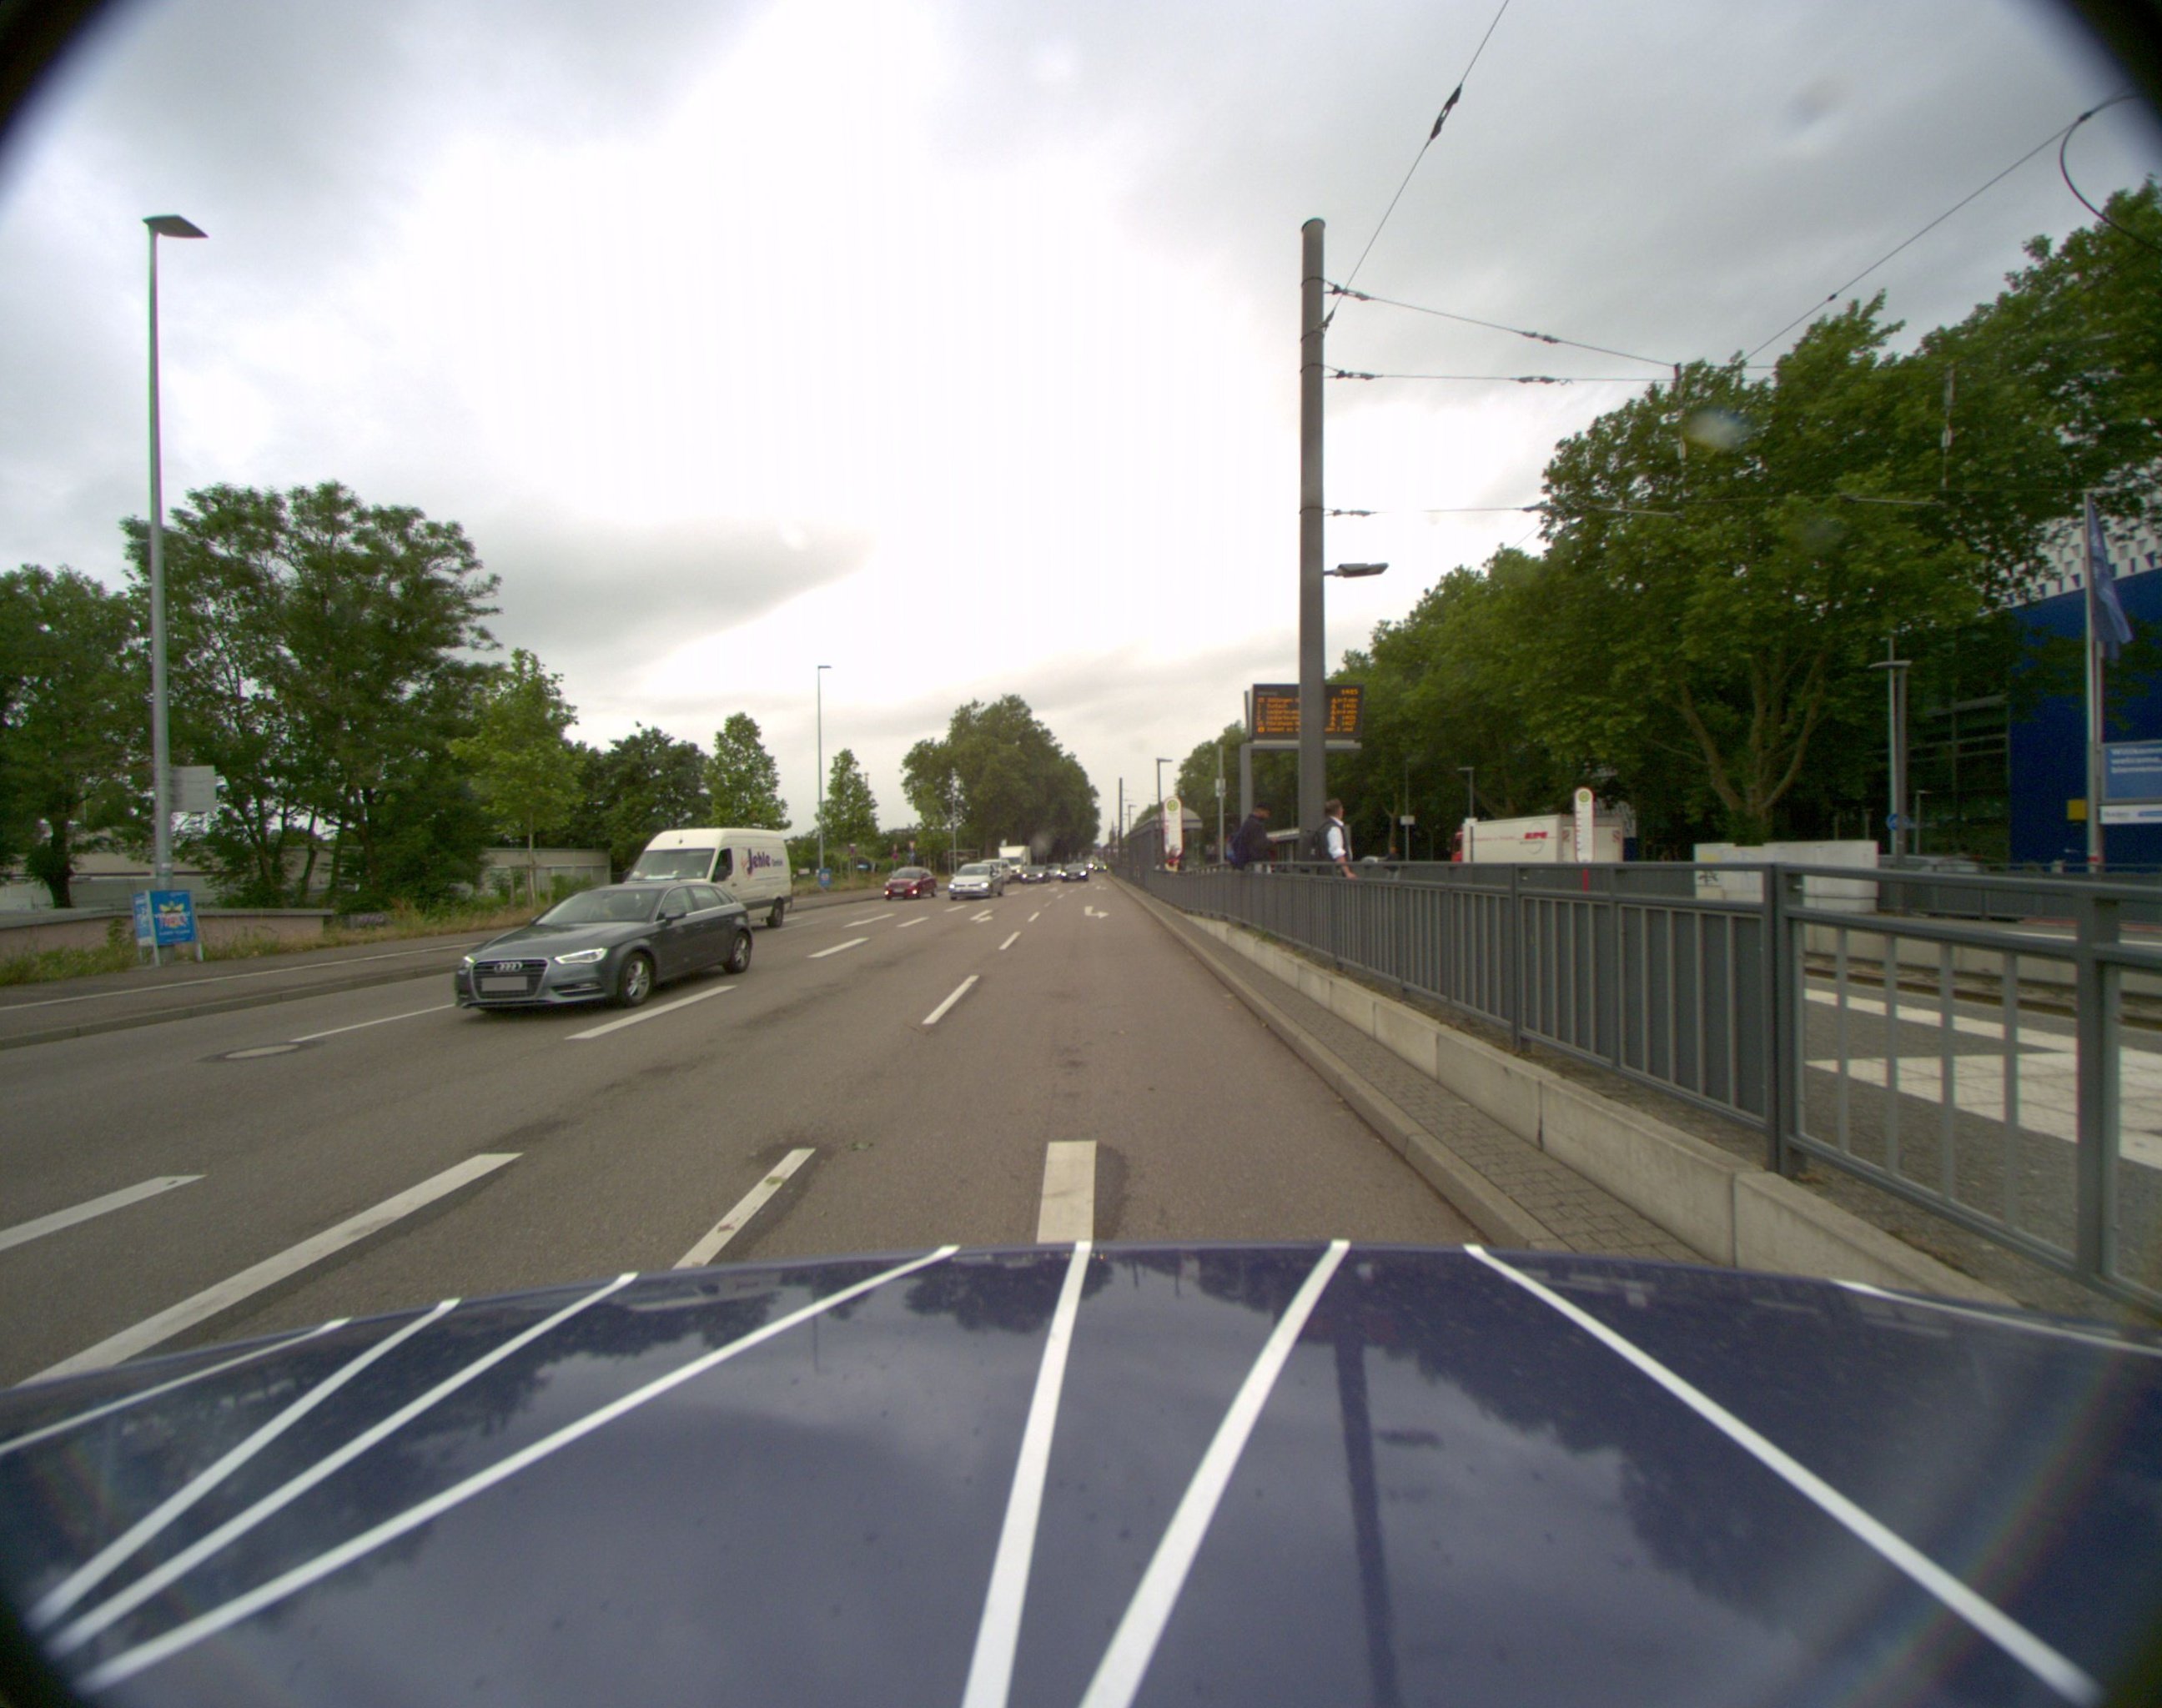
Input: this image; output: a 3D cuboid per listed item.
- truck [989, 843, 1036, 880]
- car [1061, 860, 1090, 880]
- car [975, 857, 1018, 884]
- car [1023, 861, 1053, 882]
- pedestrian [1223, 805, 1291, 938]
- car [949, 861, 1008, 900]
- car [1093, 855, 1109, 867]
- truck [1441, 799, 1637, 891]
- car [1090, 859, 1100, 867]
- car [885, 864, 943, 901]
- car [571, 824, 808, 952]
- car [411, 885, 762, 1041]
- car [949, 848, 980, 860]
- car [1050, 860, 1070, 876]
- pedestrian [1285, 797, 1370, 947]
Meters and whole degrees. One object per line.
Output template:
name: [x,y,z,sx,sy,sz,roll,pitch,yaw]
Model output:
truck: [-5.676,0.600,64.431,2.825,2.906,6.546,-2,0,4]
car: [-0.396,1.177,56.814,1.998,1.382,4.344,-2,0,0]
car: [-6.274,1.199,56.846,2.098,1.869,5.123,-2,0,6]
car: [-3.148,1.273,56.050,1.875,1.382,4.344,-2,0,0]
pedestrian: [2.390,0.231,10.376,0.787,1.732,0.587,-2,1,5]
car: [-4.475,1.126,33.809,1.859,1.543,4.202,-2,0,2]
car: [2.948,1.059,112.105,1.960,1.674,4.001,-2,1,6]
truck: [20.904,-0.351,35.759,3.259,3.642,9.897,1,0,1]
car: [2.790,1.745,152.625,1.712,1.664,3.715,0,0,4]
car: [-7.935,1.325,36.450,1.654,1.552,3.772,-2,0,4]
car: [-9.297,0.728,18.940,2.663,2.610,5.900,-2,0,1]
car: [-5.861,1.187,9.732,1.742,1.393,4.077,-2,0,1]
car: [-16.075,0.048,105.198,3.998,1.499,1.810,-2,1,-3]
car: [-1.901,1.275,69.556,1.682,1.410,3.850,-2,0,1]
pedestrian: [2.673,0.185,8.290,0.710,1.551,0.632,-2,1,4]
